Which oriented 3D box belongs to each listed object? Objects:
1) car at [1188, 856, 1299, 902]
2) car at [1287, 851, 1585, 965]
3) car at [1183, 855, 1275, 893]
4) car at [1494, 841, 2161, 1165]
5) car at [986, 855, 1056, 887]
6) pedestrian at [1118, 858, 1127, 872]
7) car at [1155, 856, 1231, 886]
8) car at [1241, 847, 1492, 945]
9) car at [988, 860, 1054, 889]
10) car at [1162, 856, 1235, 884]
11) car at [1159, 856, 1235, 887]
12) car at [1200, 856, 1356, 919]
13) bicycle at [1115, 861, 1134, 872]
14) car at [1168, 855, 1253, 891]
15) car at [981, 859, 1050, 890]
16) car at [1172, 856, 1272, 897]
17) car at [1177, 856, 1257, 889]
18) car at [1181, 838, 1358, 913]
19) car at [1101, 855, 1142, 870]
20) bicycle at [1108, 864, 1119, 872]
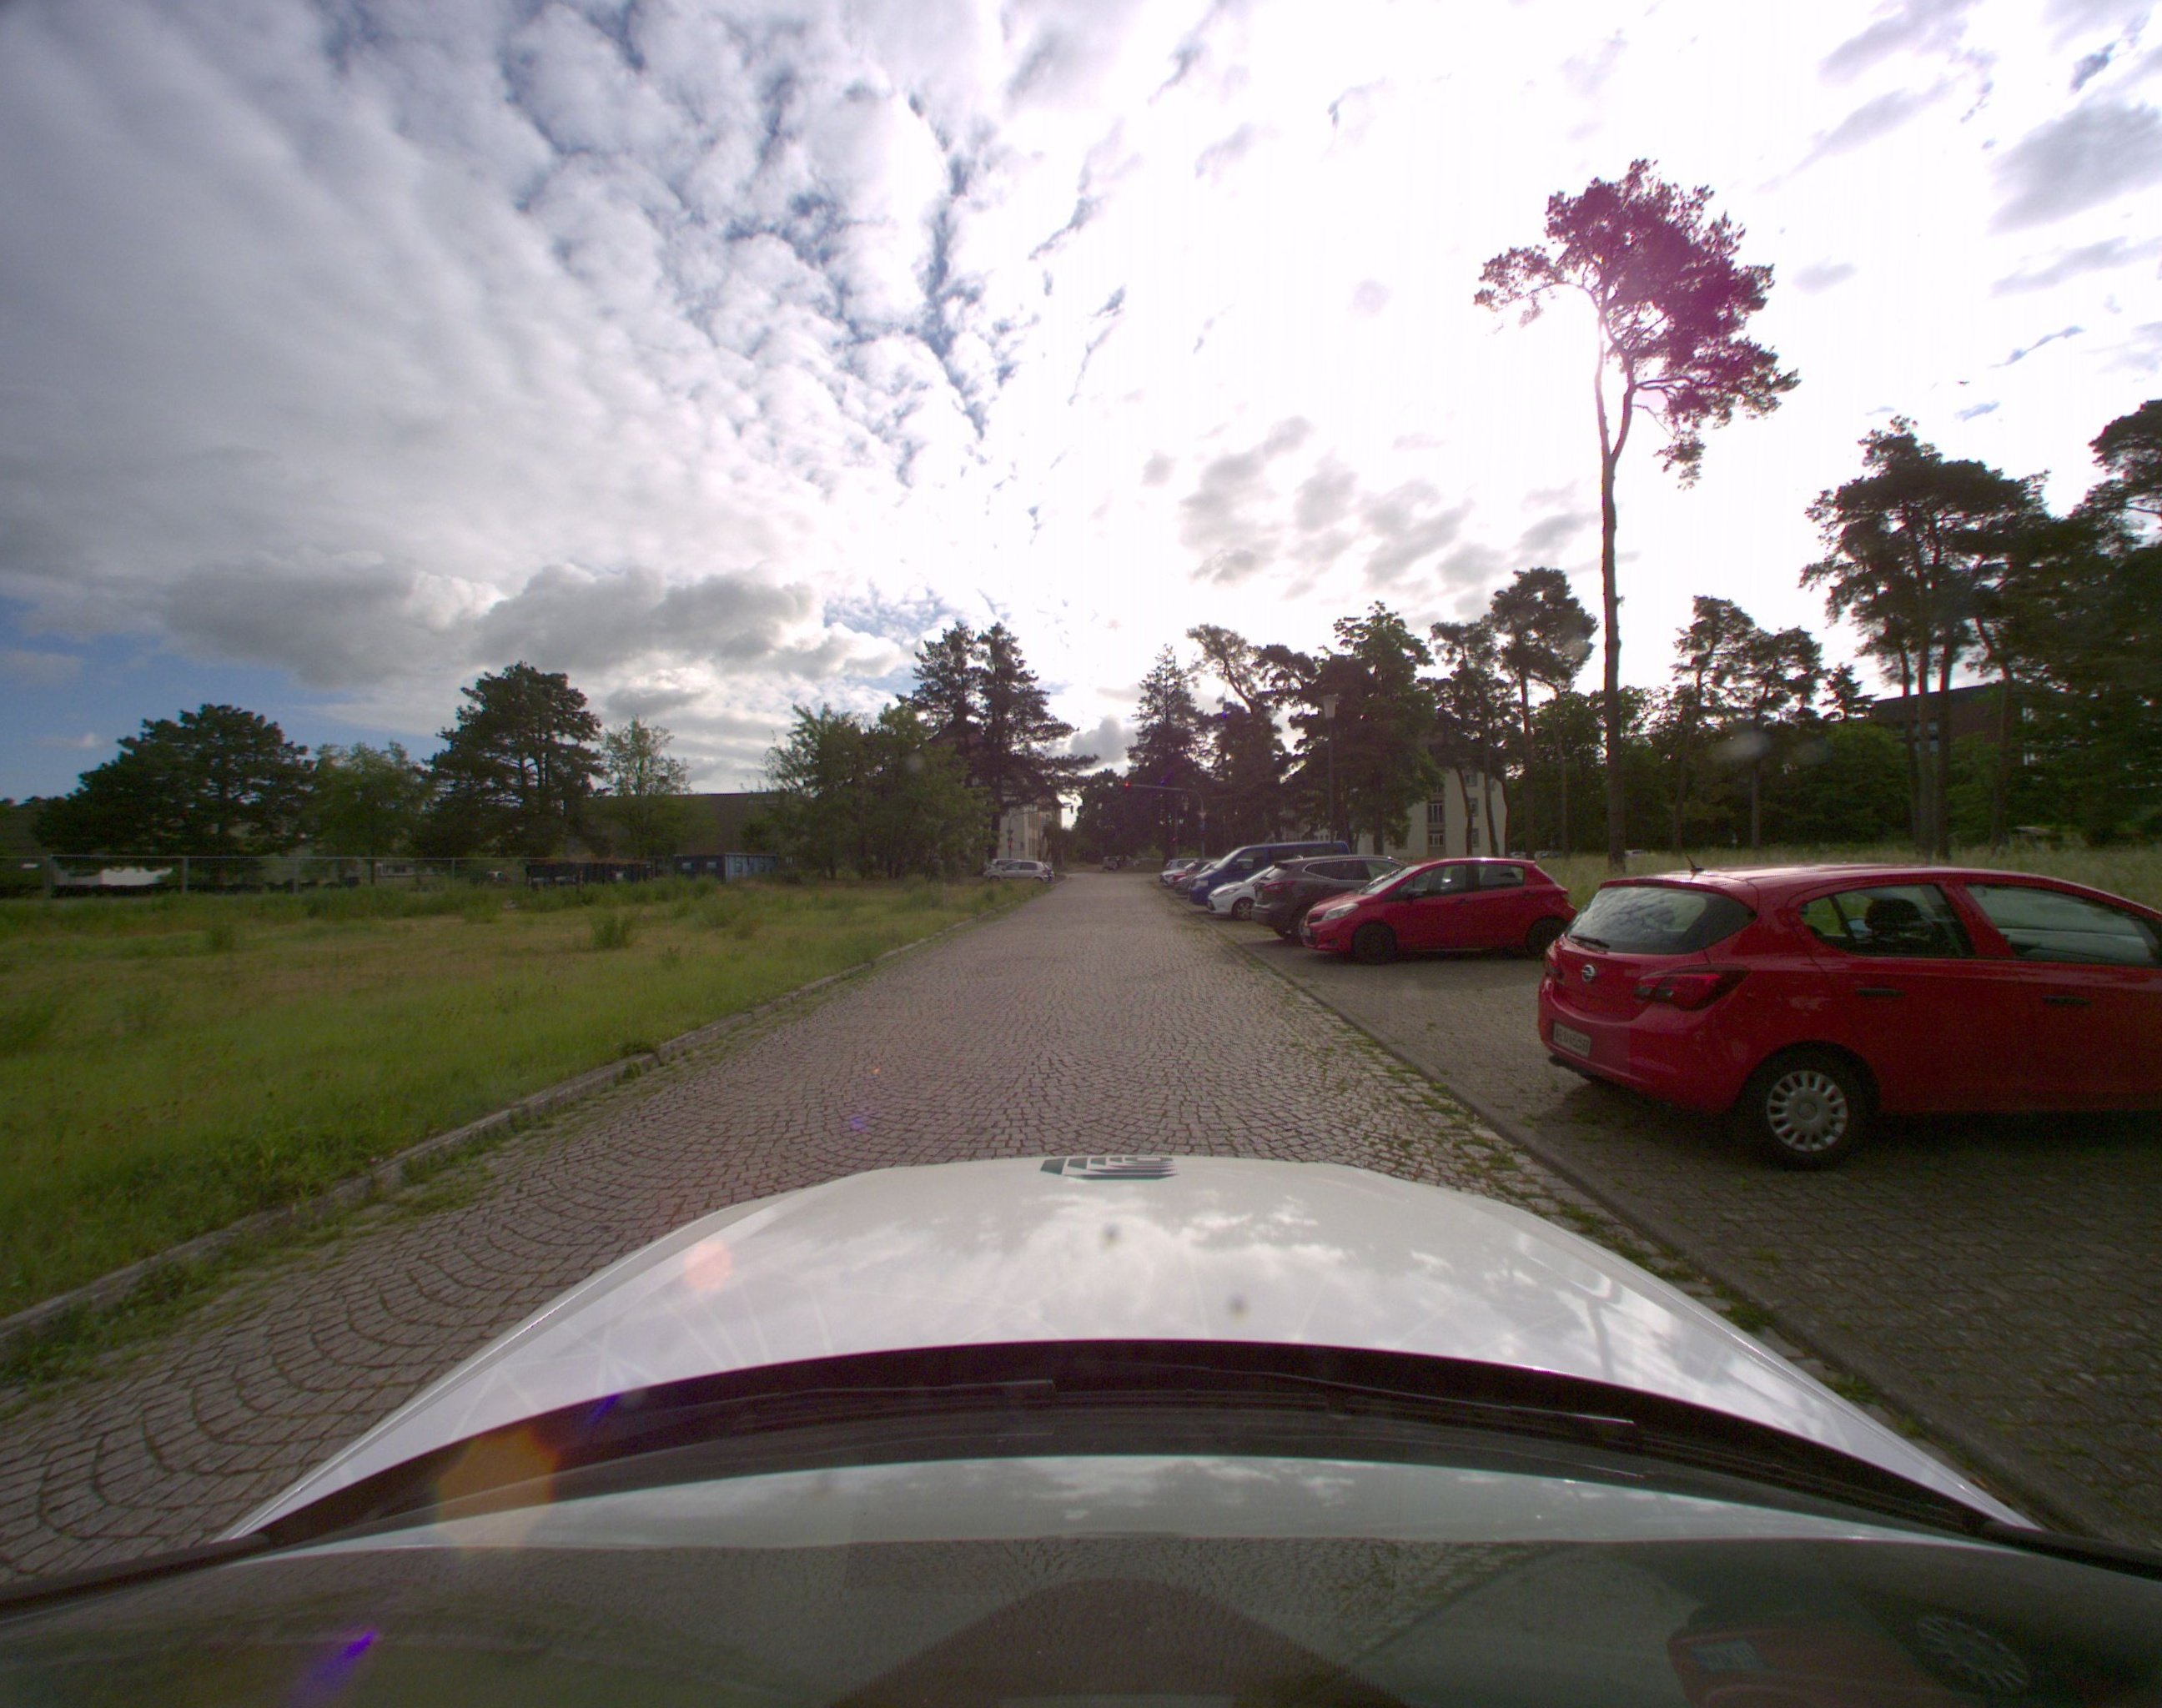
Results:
[{"bbox_3d":[5.822,0.881,29.349,3.660,1.449,1.524,-2,-1,0],"label":"car"},{"bbox_3d":[5.259,0.780,12.460,3.777,1.460,1.752,-2,-1,2],"label":"car"},{"bbox_3d":[6.331,0.868,35.107,3.660,1.449,1.524,-2,-1,0],"label":"car"},{"bbox_3d":[4.844,0.728,4.867,3.812,1.460,1.780,-2,-1,1],"label":"car"},{"bbox_3d":[-3.851,1.089,52.507,4.246,1.840,1.744,-2,-1,1],"label":"car"},{"bbox_3d":[4.992,1.300,97.224,1.031,1.614,0.757,0,-1,-3],"label":"pedestrian"},{"bbox_3d":[6.195,0.936,45.219,3.958,1.421,1.618,-2,-1,-3],"label":"car"},{"bbox_3d":[5.164,0.743,15.108,4.016,1.552,1.750,-2,-1,-1],"label":"car"},{"bbox_3d":[-3.621,1.222,49.508,3.807,1.572,1.565,-2,-1,1],"label":"car"},{"bbox_3d":[6.871,0.925,47.852,3.958,1.421,1.618,-2,-1,-3],"label":"car"},{"bbox_3d":[5.994,0.913,42.367,3.663,1.421,1.522,-2,-1,-3],"label":"car"},{"bbox_3d":[5.123,0.860,21.491,3.660,1.449,1.614,-2,-1,-1],"label":"car"},{"bbox_3d":[5.180,1.501,96.872,2.131,1.215,0.621,0,-1,-3],"label":"bicycle"},{"bbox_3d":[5.962,0.874,37.827,3.660,1.449,1.524,-2,-1,0],"label":"car"},{"bbox_3d":[-3.762,1.168,47.094,3.811,1.572,1.563,-2,-1,-2],"label":"car"},{"bbox_3d":[5.512,0.876,32.140,3.660,1.449,1.524,-2,-1,0],"label":"car"},{"bbox_3d":[6.642,0.884,40.093,3.660,1.449,1.524,-2,-1,0],"label":"car"},{"bbox_3d":[5.466,0.621,24.079,4.739,1.954,1.931,-2,-1,0],"label":"car"},{"bbox_3d":[5.671,1.217,114.789,5.441,2.014,2.263,0,-1,-7],"label":"car"},{"bbox_3d":[3.715,1.578,92.842,0.623,0.945,1.649,0,-1,-25],"label":"bicycle"}]
